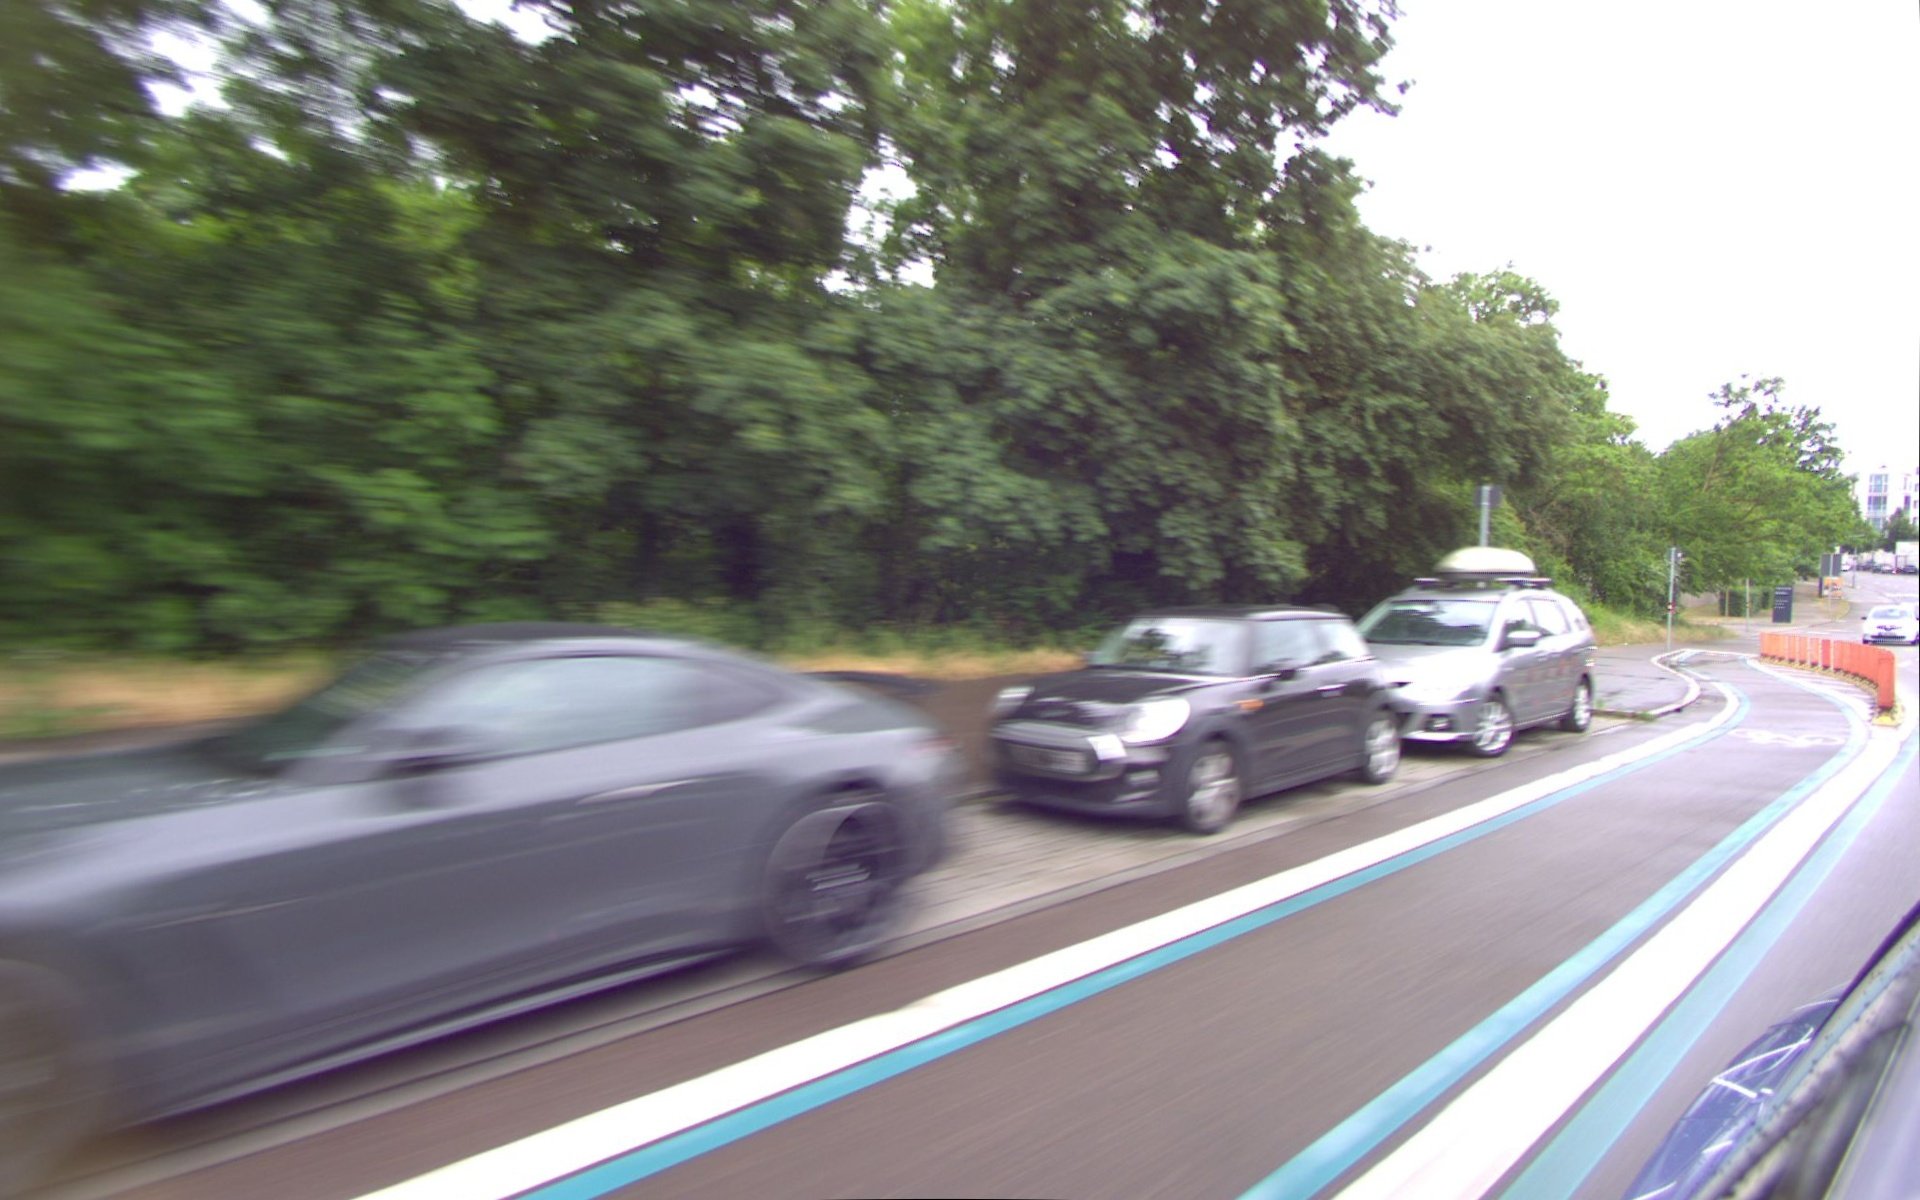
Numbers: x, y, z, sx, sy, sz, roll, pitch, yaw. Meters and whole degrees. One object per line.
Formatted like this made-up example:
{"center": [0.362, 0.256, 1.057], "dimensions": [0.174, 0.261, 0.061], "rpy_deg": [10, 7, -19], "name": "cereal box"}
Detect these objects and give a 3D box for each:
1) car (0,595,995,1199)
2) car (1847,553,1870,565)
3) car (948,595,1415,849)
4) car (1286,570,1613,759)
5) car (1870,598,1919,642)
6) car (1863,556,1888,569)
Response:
{"center": [-2.027, 0.692, 3.738], "dimensions": [4.312, 1.417, 1.854], "rpy_deg": [0, 0, -44], "name": "car"}
{"center": [156.541, -7.144, 176.323], "dimensions": [1.908, 2.038, 4.344], "rpy_deg": [1, 2, 28], "name": "car"}
{"center": [1.807, 0.683, 7.592], "dimensions": [3.642, 1.431, 1.698], "rpy_deg": [0, 0, -44], "name": "car"}
{"center": [5.376, 0.554, 10.855], "dimensions": [4.181, 1.635, 1.823], "rpy_deg": [0, 0, -44], "name": "car"}
{"center": [38.566, 0.794, 41.267], "dimensions": [3.935, 1.682, 1.923], "rpy_deg": [1, 1, -45], "name": "car"}
{"center": [149.043, -6.072, 164.768], "dimensions": [1.908, 2.038, 4.344], "rpy_deg": [1, 2, 28], "name": "car"}
